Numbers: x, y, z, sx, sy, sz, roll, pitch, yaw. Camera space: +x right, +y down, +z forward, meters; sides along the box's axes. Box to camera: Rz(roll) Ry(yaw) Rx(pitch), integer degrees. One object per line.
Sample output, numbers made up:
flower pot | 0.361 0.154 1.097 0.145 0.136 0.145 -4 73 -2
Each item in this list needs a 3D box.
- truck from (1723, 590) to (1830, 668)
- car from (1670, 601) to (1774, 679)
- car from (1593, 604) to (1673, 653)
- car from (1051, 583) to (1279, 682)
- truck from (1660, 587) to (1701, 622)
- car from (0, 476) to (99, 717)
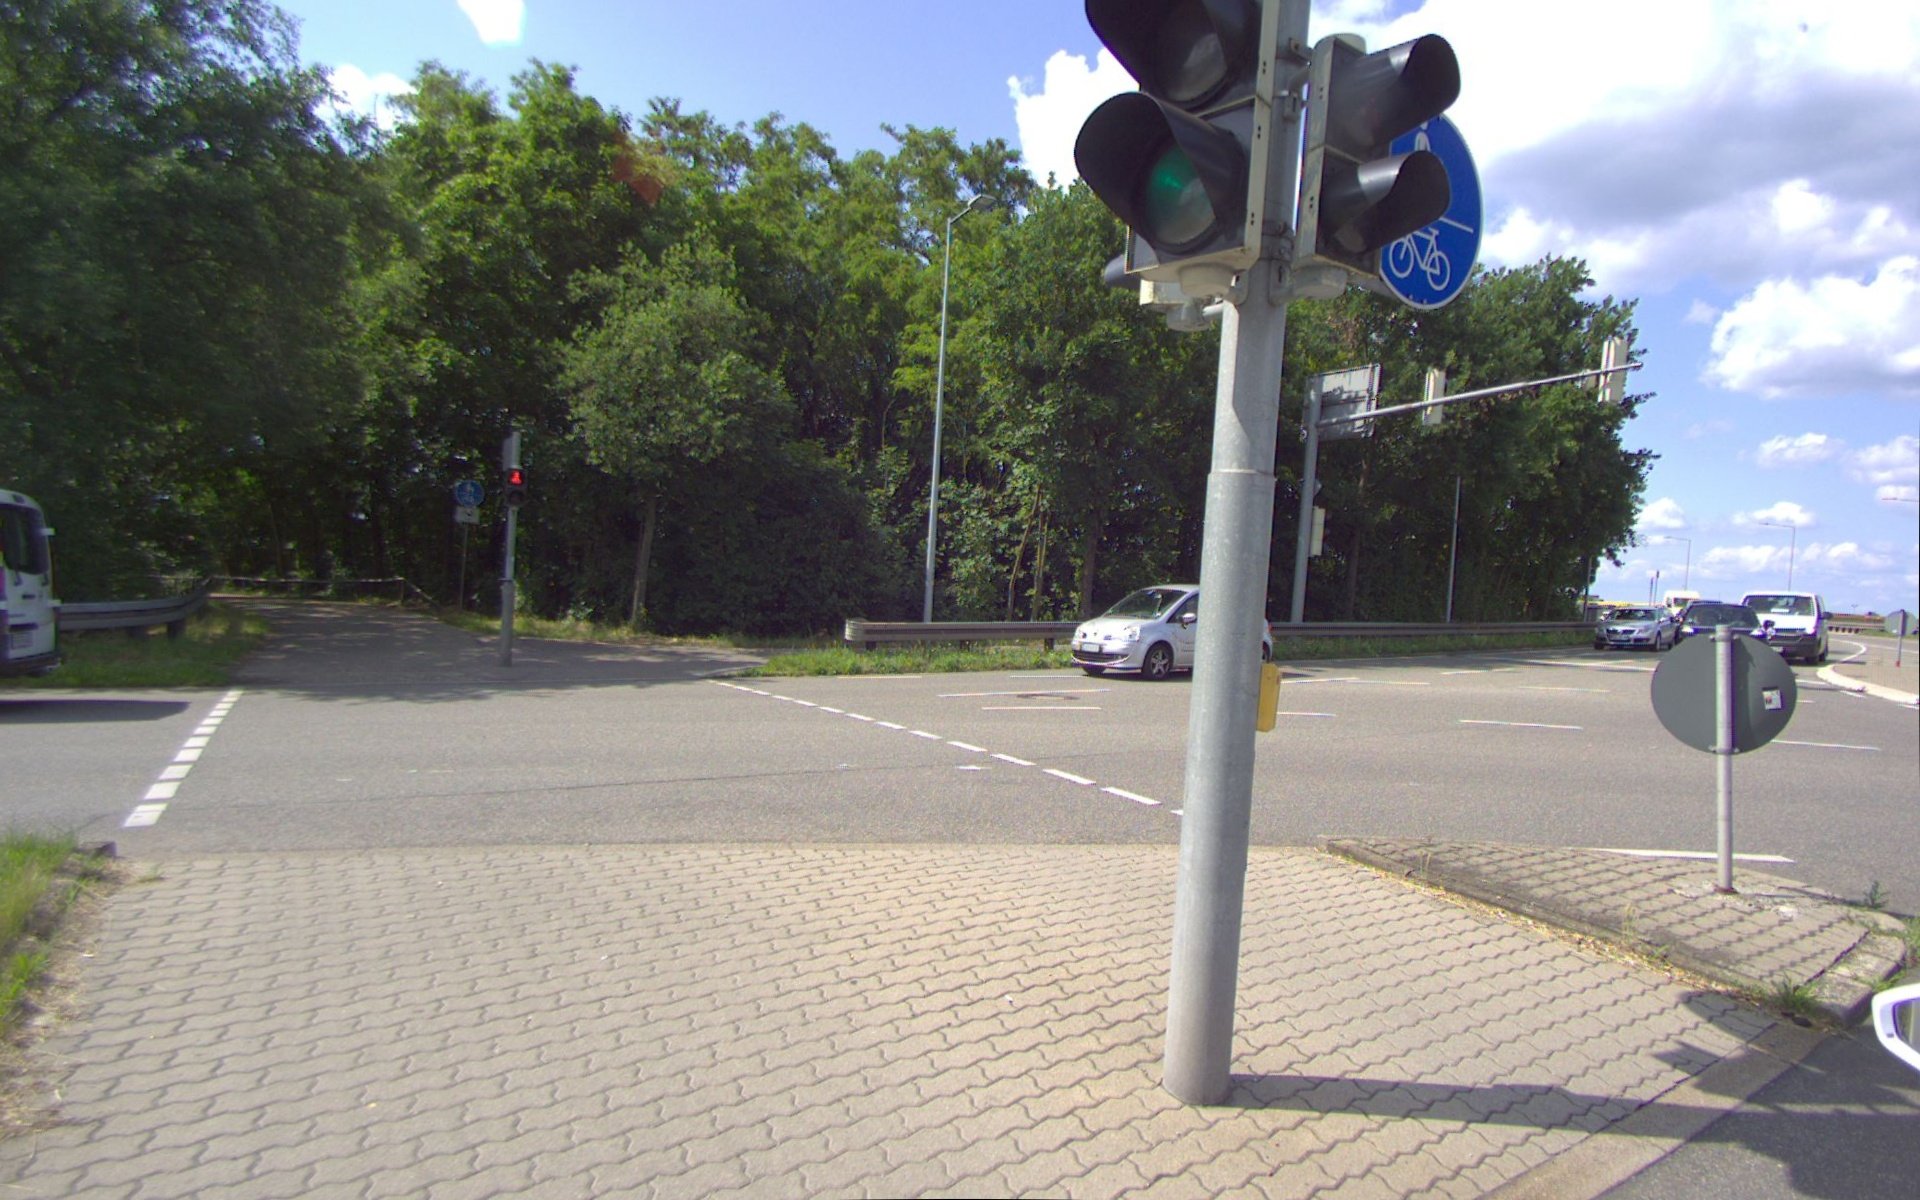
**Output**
truck | 23.064 0.758 28.292 1.939 1.938 5.339 3 2 43
car | 17.491 0.844 23.196 1.675 1.578 3.810 3 1 35
car | 22.591 0.927 33.657 1.663 1.497 4.689 1 0 41
car | 3.651 0.519 17.555 4.032 1.541 1.719 1 1 -38
truck | 55.986 0.331 78.124 1.964 2.656 6.091 1 0 30
car | -10.609 -0.104 8.210 5.075 2.040 1.984 2 -1 -31
